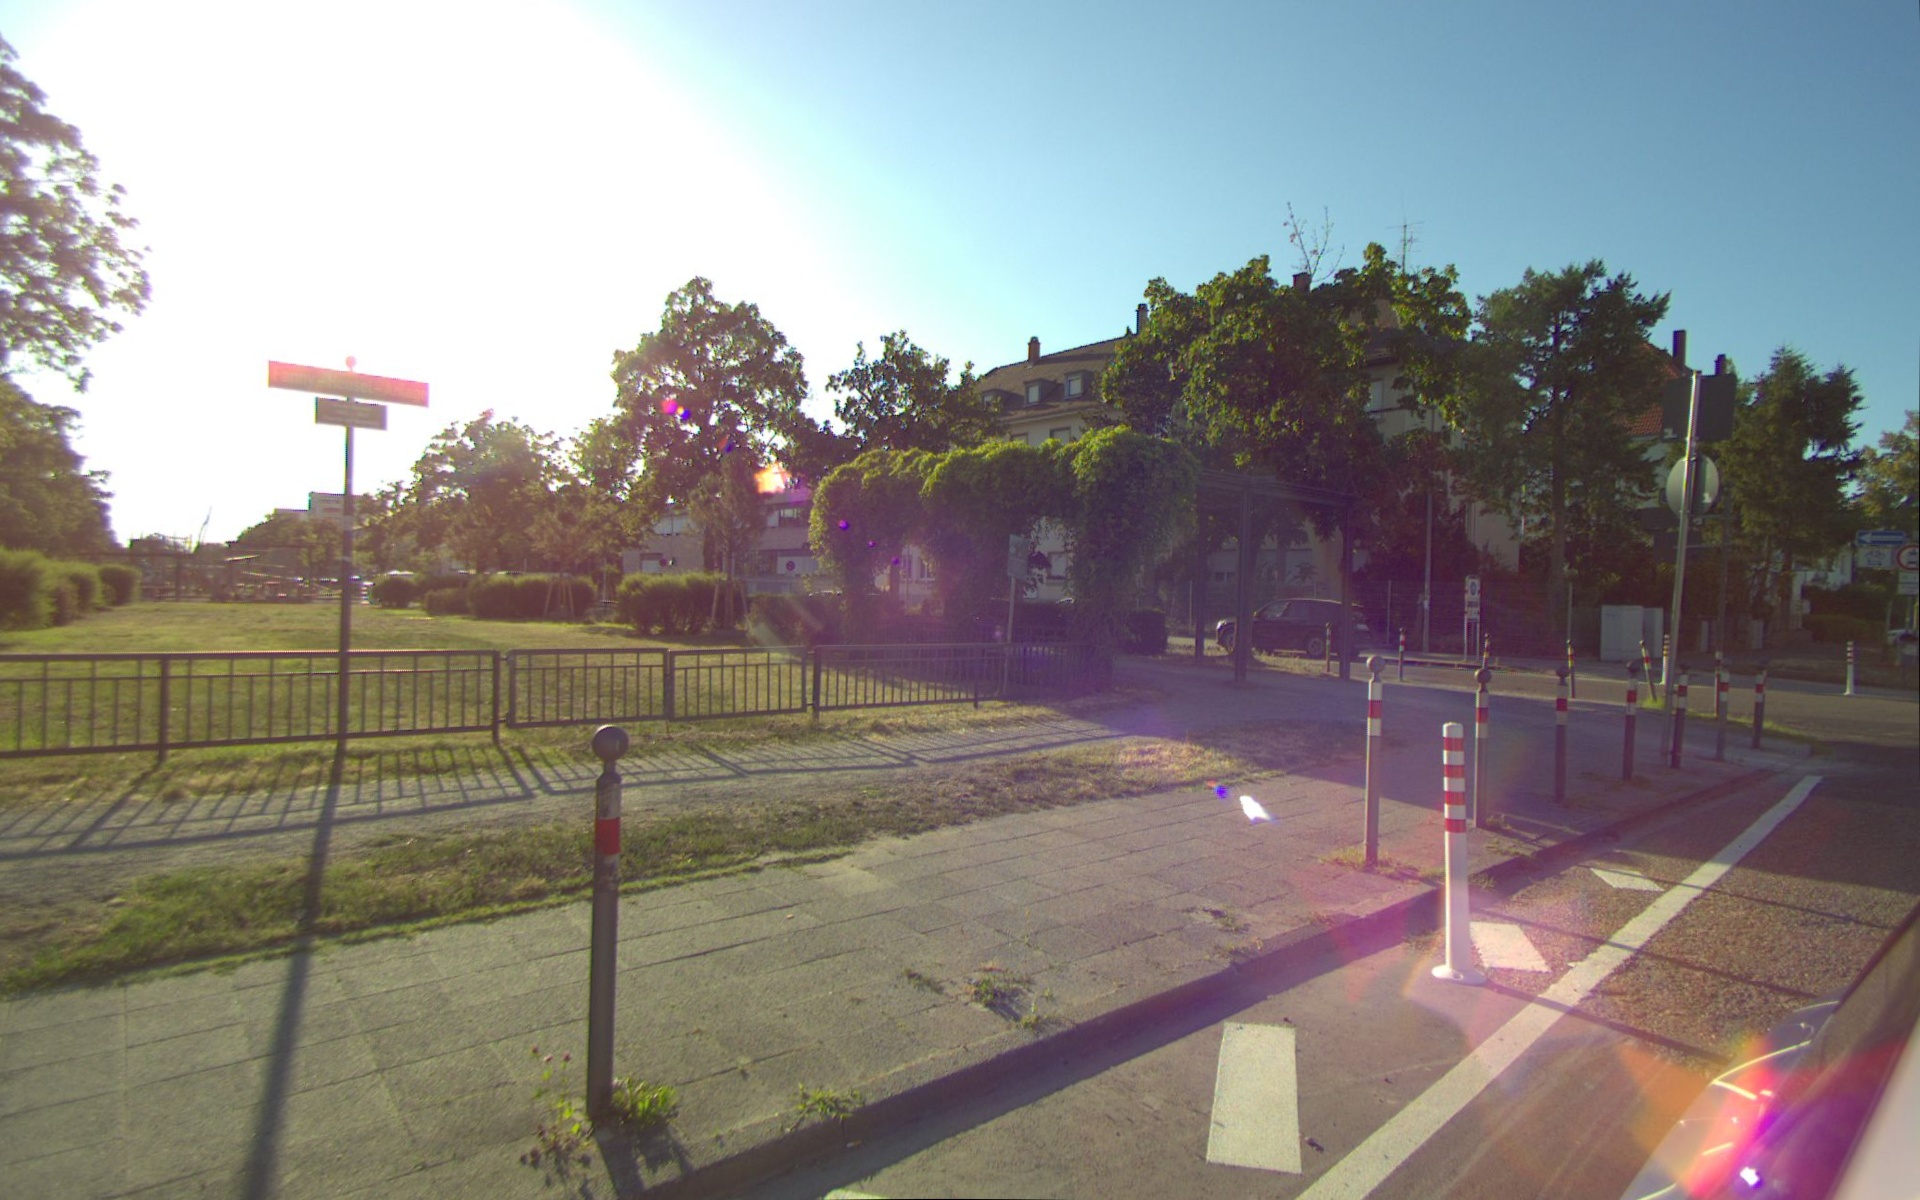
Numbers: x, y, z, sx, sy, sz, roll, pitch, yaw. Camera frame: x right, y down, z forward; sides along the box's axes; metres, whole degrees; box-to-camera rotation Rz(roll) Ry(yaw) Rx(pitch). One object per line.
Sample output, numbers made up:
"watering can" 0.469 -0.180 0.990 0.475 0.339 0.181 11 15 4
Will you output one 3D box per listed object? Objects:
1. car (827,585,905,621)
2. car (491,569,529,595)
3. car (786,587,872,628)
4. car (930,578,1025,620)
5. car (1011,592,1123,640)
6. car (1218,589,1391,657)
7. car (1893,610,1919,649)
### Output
"car" -4.359 0.119 46.371 1.739 1.545 3.768 0 1 -40
"car" -38.379 -1.543 86.272 1.964 2.150 3.997 1 0 -39
"car" -5.344 0.284 41.005 1.739 1.545 3.768 0 1 -40
"car" 0.649 -0.066 39.402 1.703 1.537 3.758 1 0 -38
"car" 3.674 0.515 35.255 1.739 1.545 3.770 0 1 -38
"car" 9.512 0.604 28.211 1.790 1.662 4.210 5 -2 -41
"car" 42.312 1.310 42.190 1.937 1.634 4.830 1 0 -41
